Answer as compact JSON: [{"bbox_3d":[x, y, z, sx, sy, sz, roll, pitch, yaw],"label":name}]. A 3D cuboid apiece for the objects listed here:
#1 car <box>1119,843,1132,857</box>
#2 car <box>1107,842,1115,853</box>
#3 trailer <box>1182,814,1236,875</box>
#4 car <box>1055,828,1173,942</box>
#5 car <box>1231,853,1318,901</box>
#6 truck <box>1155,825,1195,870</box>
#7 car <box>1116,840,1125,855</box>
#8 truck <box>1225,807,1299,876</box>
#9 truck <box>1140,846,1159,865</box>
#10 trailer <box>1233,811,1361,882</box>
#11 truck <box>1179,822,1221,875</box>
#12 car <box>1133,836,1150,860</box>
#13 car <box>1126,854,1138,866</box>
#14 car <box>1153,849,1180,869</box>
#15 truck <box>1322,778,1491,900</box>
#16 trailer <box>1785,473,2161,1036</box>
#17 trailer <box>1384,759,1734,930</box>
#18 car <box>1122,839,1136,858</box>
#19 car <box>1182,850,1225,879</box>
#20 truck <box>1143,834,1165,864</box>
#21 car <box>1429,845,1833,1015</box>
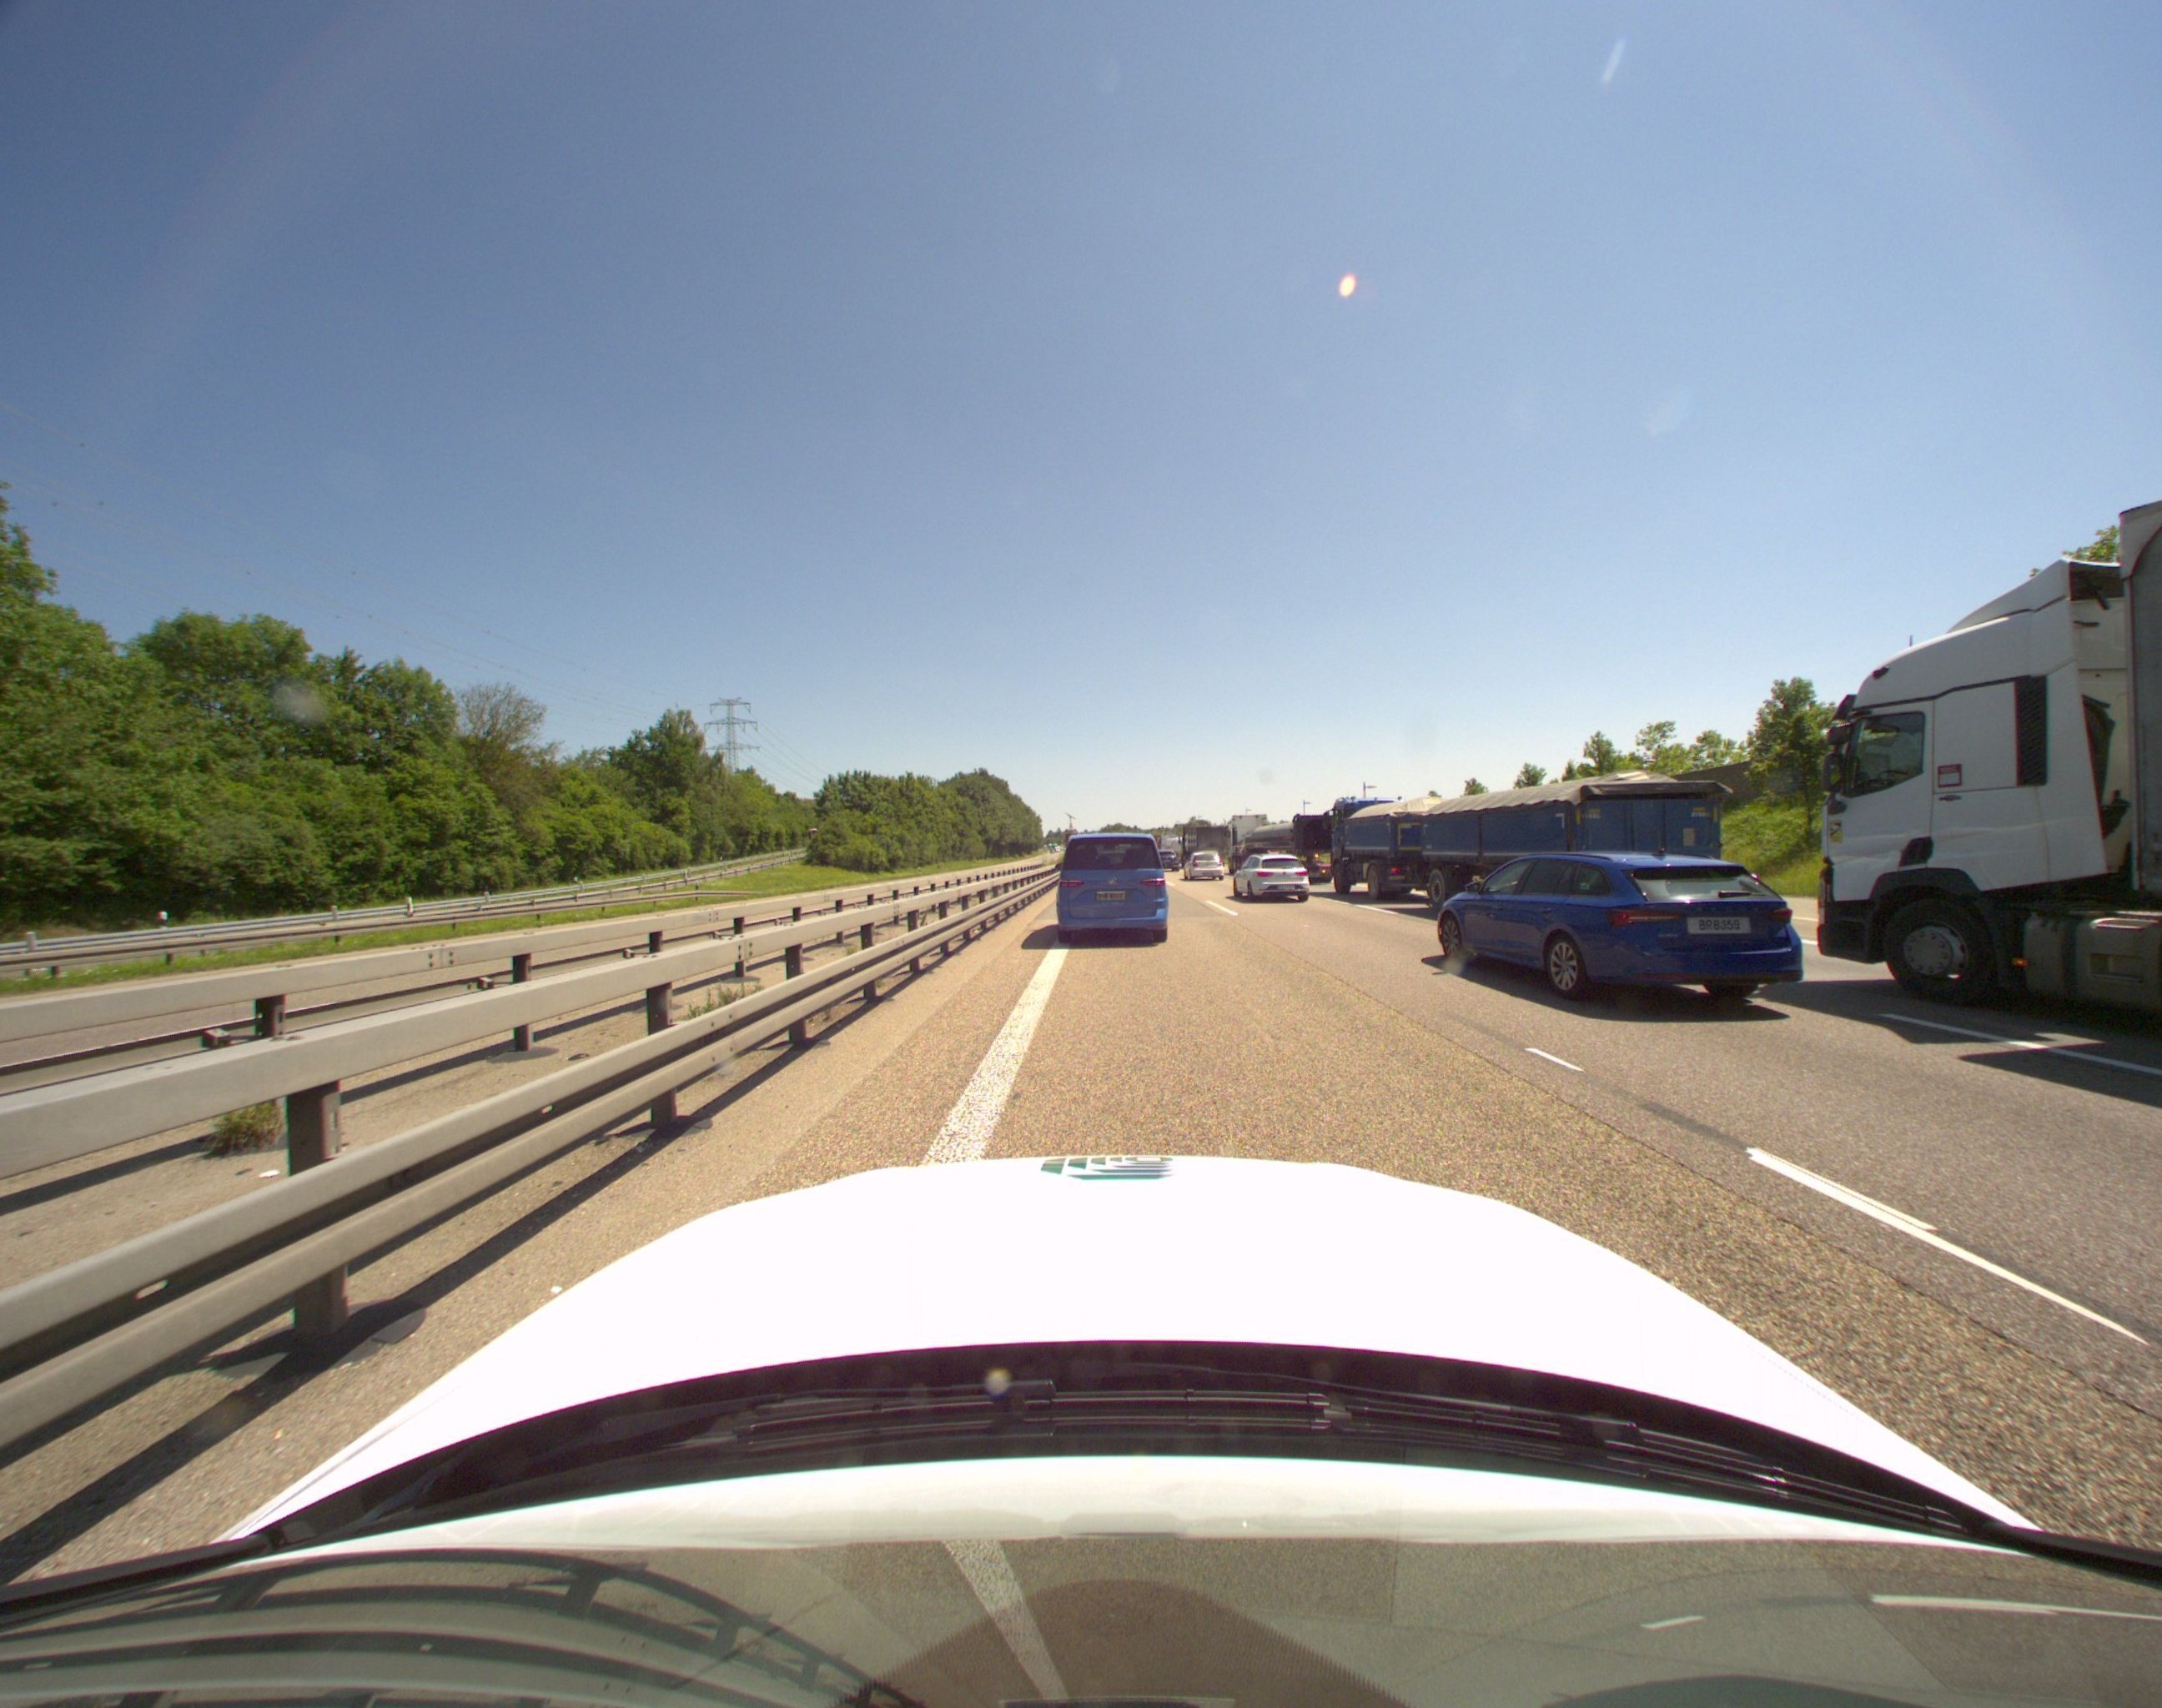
[{"bbox_3d":[8.874,-0.775,162.650,2.541,2.717,5.623,0,-1,2],"label":"car"},{"bbox_3d":[9.320,-1.958,250.825,2.476,3.204,7.375,0,-1,2],"label":"car"},{"bbox_3d":[11.702,-0.718,76.094,3.631,5.136,13.084,0,-1,3],"label":"trailer"},{"bbox_3d":[0.647,0.528,15.219,1.893,1.838,4.003,0,-1,3],"label":"car"},{"bbox_3d":[5.918,0.649,25.374,1.861,1.361,4.001,0,0,2],"label":"car"},{"bbox_3d":[11.757,-0.673,103.228,3.608,5.213,15.692,0,-1,1],"label":"truck"},{"bbox_3d":[12.642,-2.084,260.730,2.706,4.713,11.564,0,-1,2],"label":"car"},{"bbox_3d":[11.498,-0.683,52.504,3.609,4.094,7.532,0,-1,4],"label":"truck"},{"bbox_3d":[6.969,0.167,83.712,1.719,1.857,4.001,0,-1,2],"label":"truck"},{"bbox_3d":[10.834,-0.229,43.247,3.630,3.079,15.787,0,-1,4],"label":"trailer"},{"bbox_3d":[11.984,-0.495,82.479,3.644,5.180,5.711,0,-1,2],"label":"truck"},{"bbox_3d":[13.204,-1.250,178.472,3.206,5.257,8.147,0,-1,2],"label":"car"},{"bbox_3d":[8.469,1.052,135.611,1.986,2.014,4.001,0,-1,2],"label":"car"},{"bbox_3d":[6.565,0.402,63.007,1.774,1.524,4.001,0,-1,2],"label":"car"},{"bbox_3d":[9.947,-0.386,25.827,2.733,3.312,7.135,0,-1,2],"label":"truck"},{"bbox_3d":[9.222,-0.721,5.866,2.913,4.044,6.414,0,0,2],"label":"trailer"},{"bbox_3d":[9.688,-0.142,18.183,2.733,2.836,9.119,0,0,2],"label":"trailer"},{"bbox_3d":[13.496,-1.454,230.195,3.209,5.257,8.138,0,-1,-2],"label":"car"},{"bbox_3d":[6.545,0.561,43.768,1.833,1.454,4.002,0,-1,2],"label":"car"},{"bbox_3d":[12.371,-0.755,139.145,3.057,4.920,10.693,0,-1,2],"label":"truck"},{"bbox_3d":[5.628,0.672,9.162,1.699,1.441,4.430,0,-1,2],"label":"car"}]
